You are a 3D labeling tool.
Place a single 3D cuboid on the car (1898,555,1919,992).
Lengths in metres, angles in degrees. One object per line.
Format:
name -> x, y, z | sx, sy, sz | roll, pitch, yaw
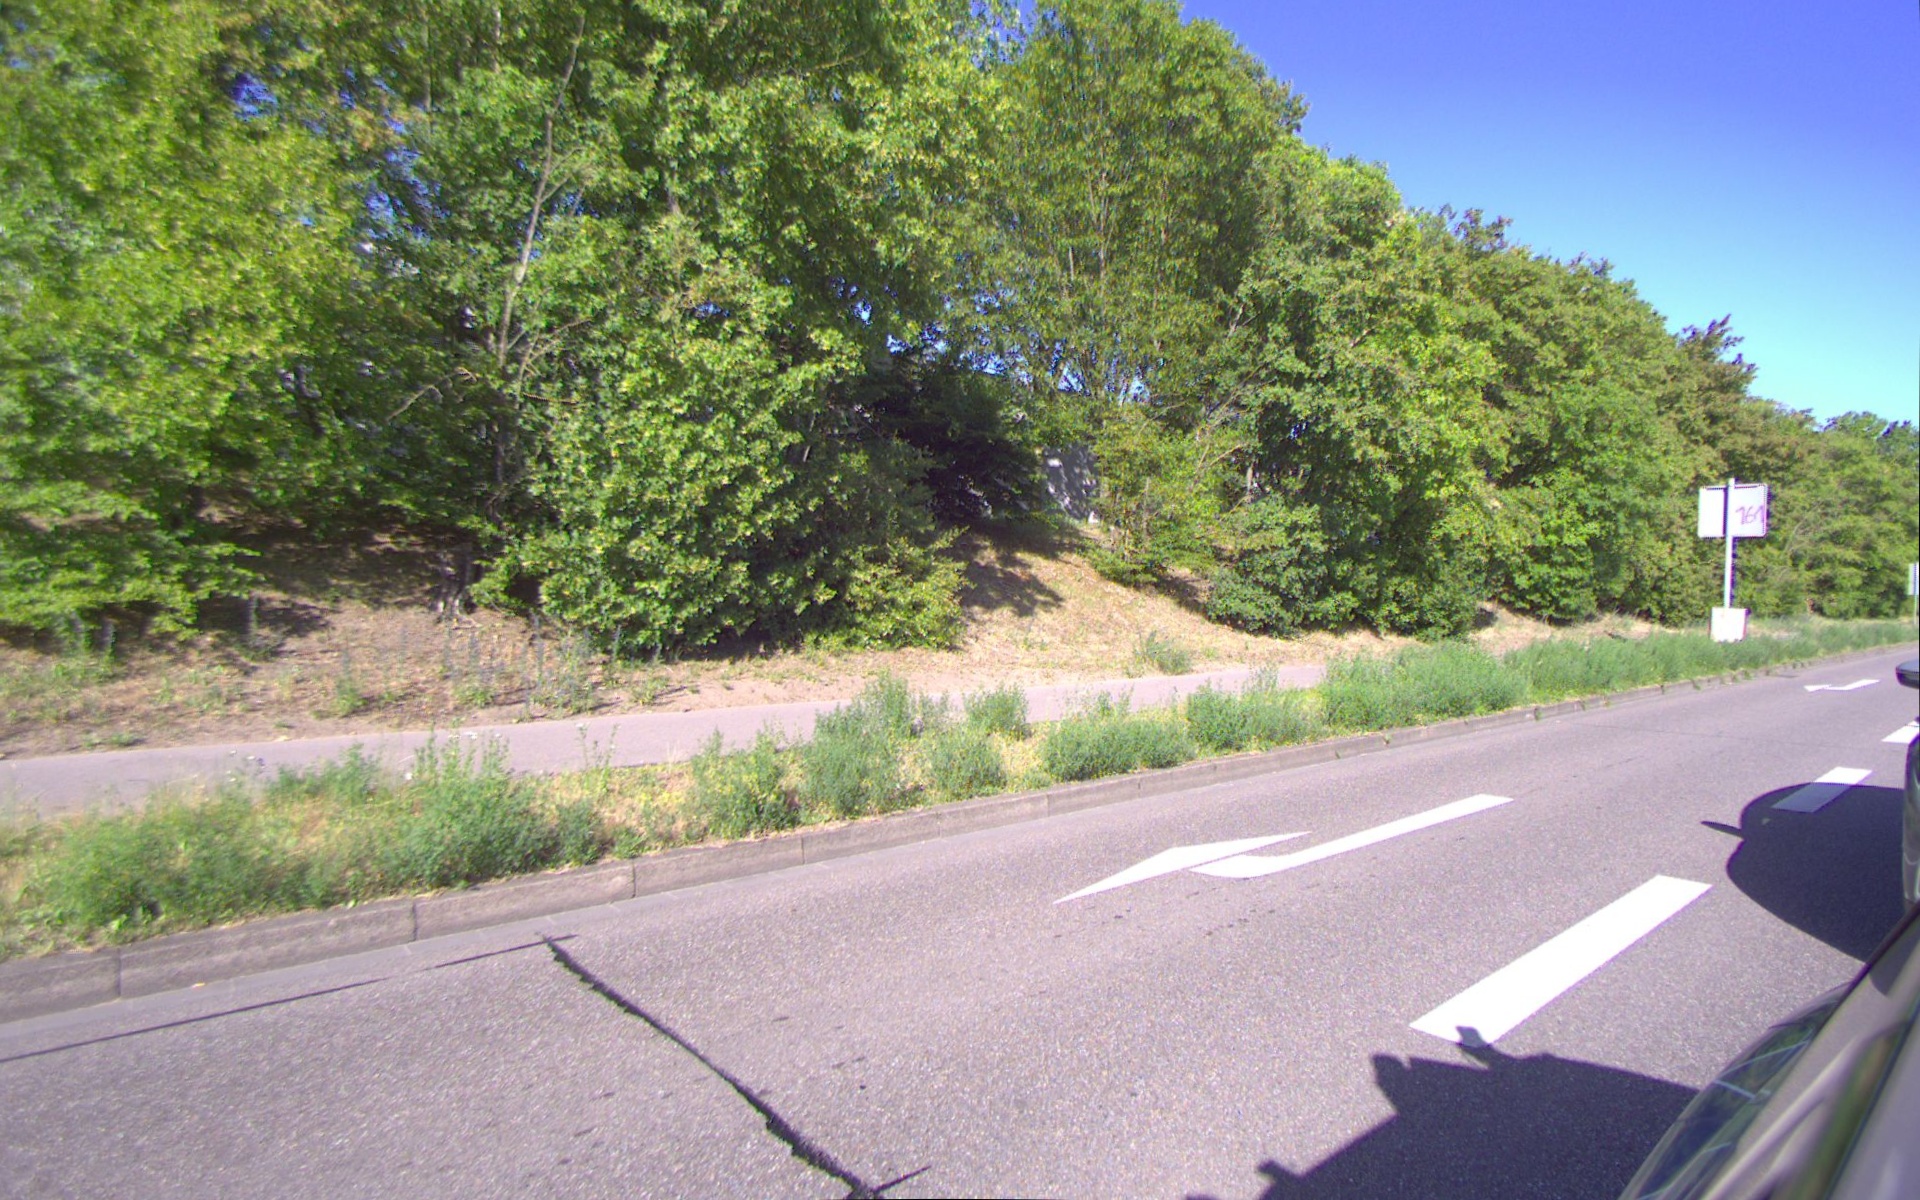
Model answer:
car -> 5.585, 0.658, 4.349 | 3.863, 1.617, 1.869 | 0, 0, -41
